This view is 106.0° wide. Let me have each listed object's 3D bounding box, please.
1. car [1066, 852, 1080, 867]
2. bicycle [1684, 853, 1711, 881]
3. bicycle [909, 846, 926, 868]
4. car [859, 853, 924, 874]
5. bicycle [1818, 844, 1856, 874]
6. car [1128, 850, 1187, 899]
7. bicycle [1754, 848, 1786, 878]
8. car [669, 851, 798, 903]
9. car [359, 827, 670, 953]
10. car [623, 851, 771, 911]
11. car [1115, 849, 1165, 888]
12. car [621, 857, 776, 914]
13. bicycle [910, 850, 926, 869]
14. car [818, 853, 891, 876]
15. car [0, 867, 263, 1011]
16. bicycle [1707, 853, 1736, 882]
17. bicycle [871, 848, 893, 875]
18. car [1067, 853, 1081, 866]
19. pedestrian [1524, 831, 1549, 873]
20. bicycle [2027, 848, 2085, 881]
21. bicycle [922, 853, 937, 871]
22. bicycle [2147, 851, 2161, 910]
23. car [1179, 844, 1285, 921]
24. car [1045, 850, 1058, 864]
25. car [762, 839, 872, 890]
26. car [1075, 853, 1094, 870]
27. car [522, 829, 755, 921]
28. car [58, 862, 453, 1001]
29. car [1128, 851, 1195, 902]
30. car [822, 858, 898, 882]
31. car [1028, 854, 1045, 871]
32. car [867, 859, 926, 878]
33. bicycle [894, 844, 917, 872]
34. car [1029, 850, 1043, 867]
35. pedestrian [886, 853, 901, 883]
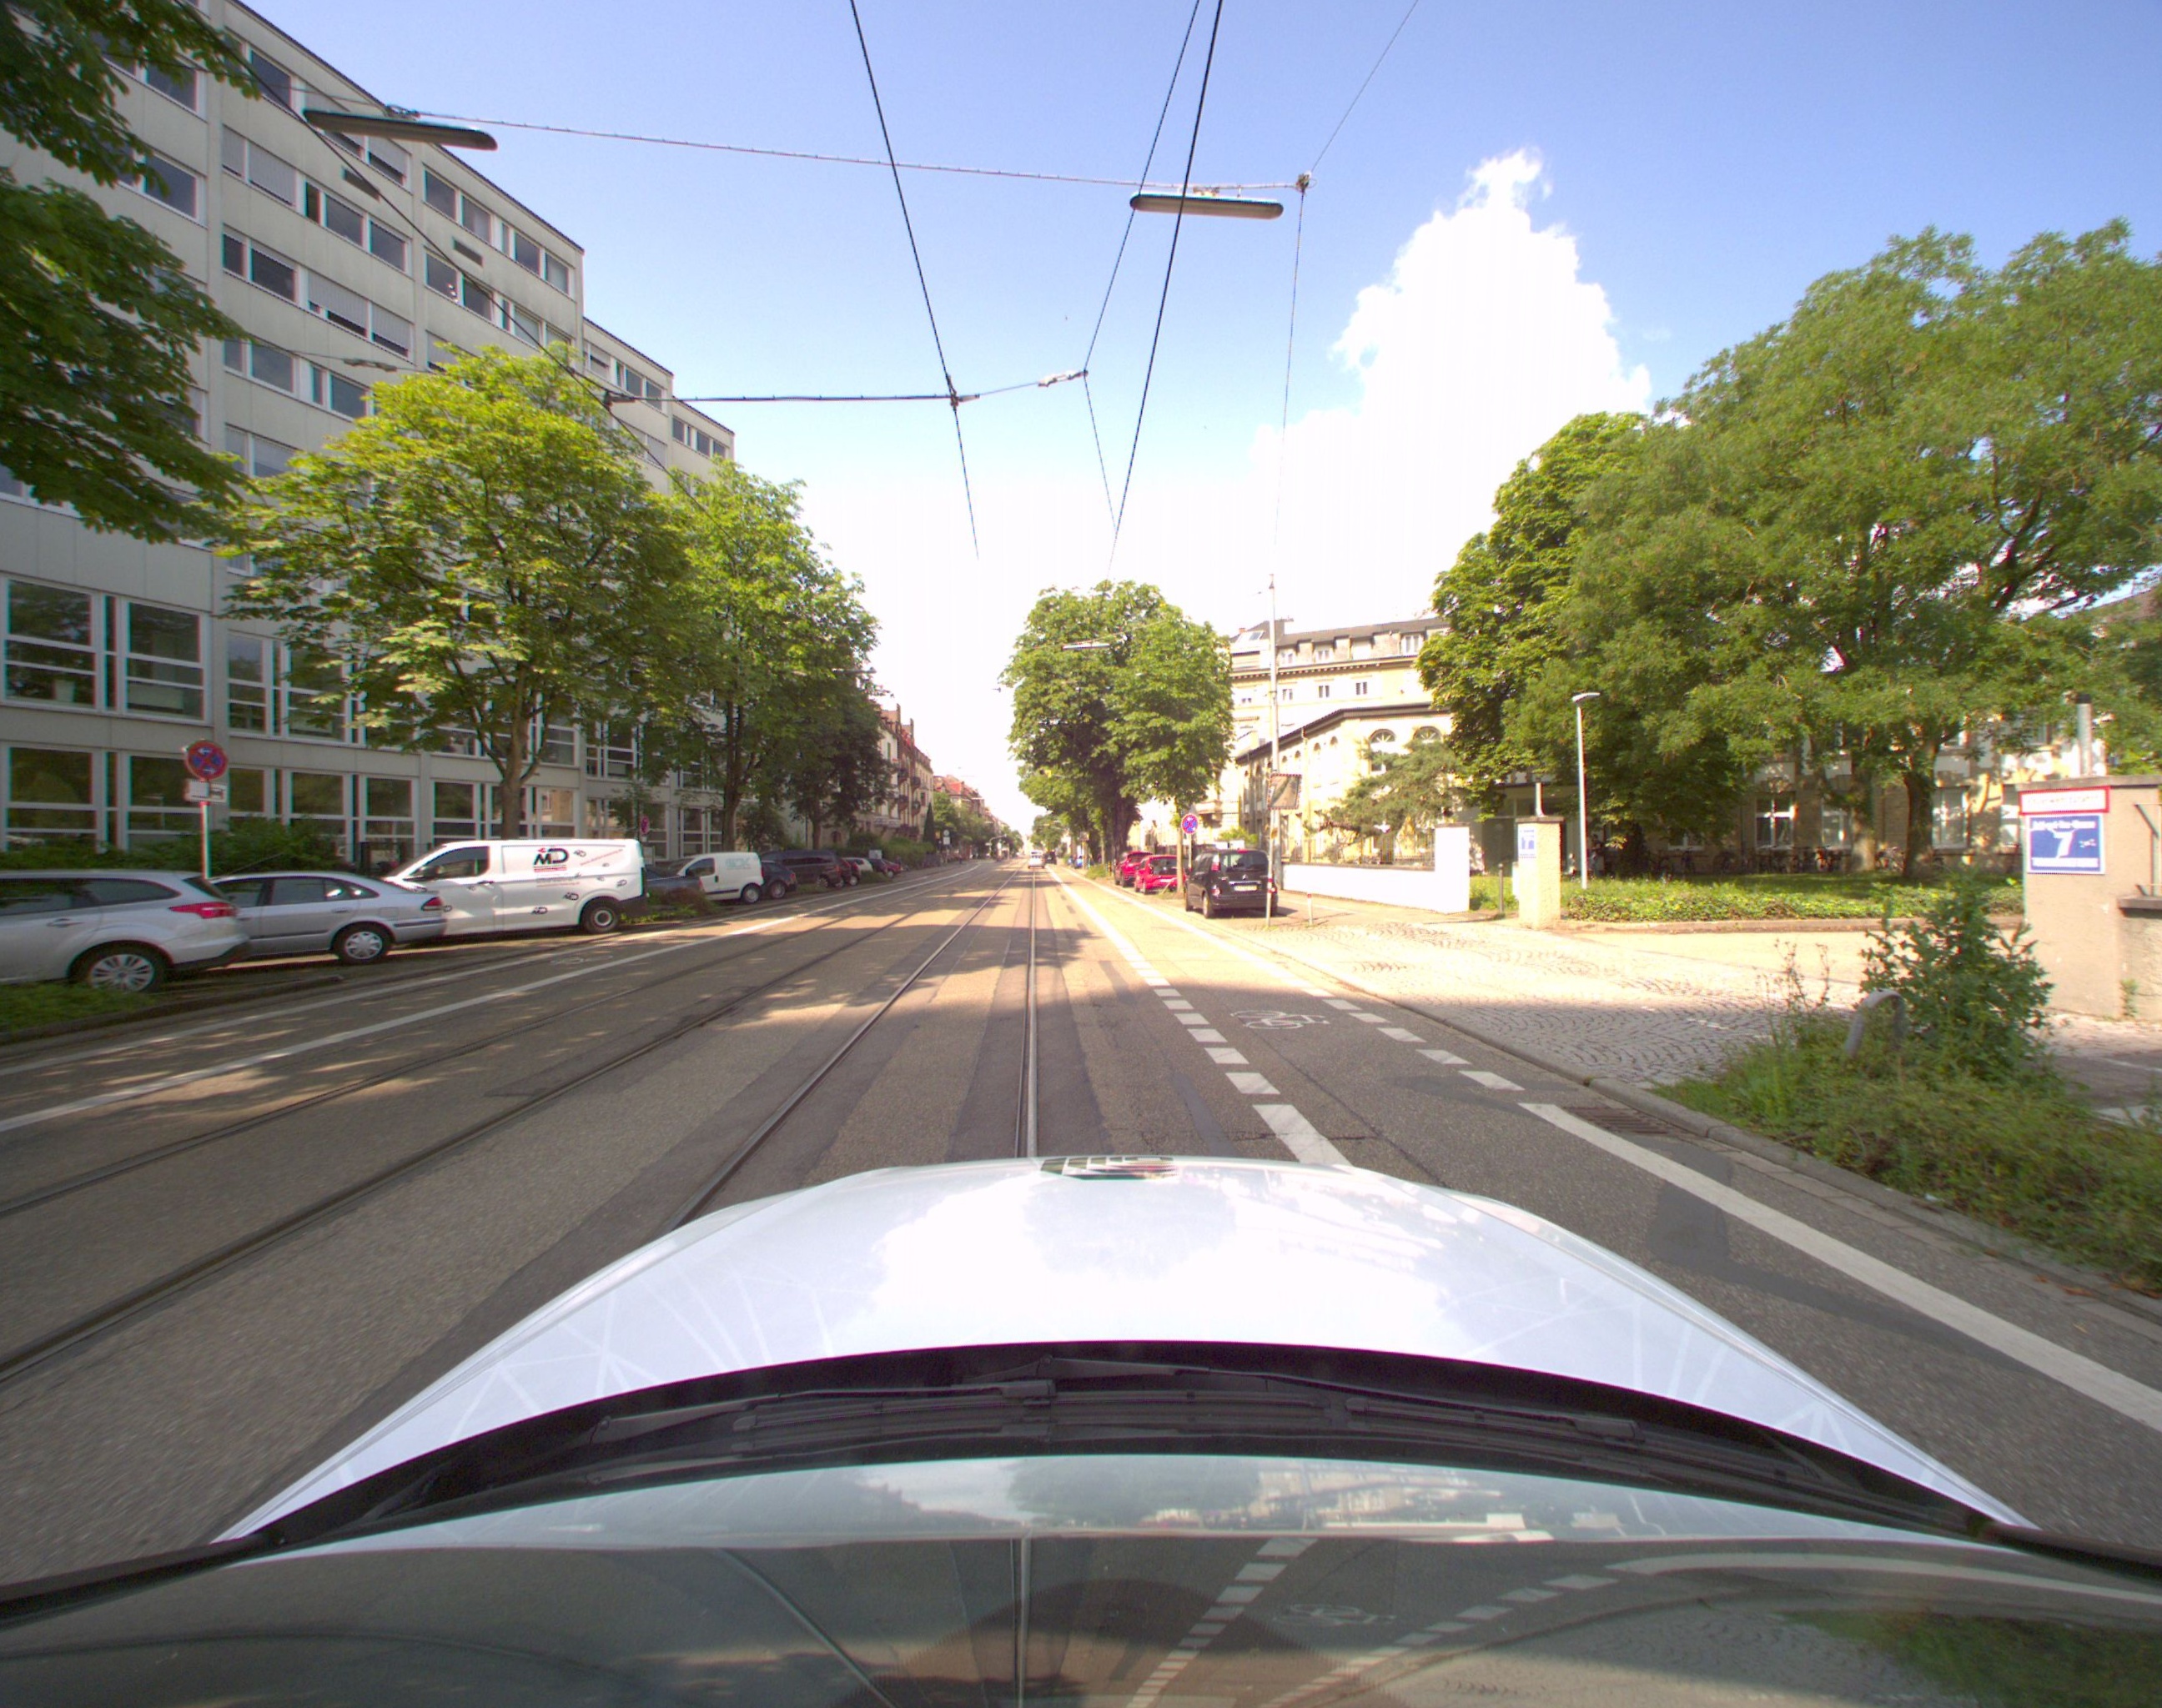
[{"bbox_3d":[-1.007,0.661,99.651,1.618,1.684,3.560,-1,0,-3],"label":"car"},{"bbox_3d":[23.857,0.486,31.537,0.414,1.056,2.079,-5,-2,28],"label":"bicycle"},{"bbox_3d":[-15.518,0.314,77.441,0.935,2.078,2.500,-1,0,2],"label":"bicycle"},{"bbox_3d":[-12.258,0.594,52.794,3.807,1.306,1.618,0,-1,-42],"label":"car"},{"bbox_3d":[27.637,0.175,29.808,0.414,1.056,2.079,-5,-2,28],"label":"bicycle"},{"bbox_3d":[2.922,0.743,31.619,1.670,1.611,3.580,-4,2,-4],"label":"car"},{"bbox_3d":[25.839,0.312,30.566,0.414,1.056,2.079,-5,-2,28],"label":"bicycle"},{"bbox_3d":[-12.253,0.752,28.857,1.859,1.712,3.782,-1,0,41],"label":"car"},{"bbox_3d":[-10.995,0.584,16.088,1.908,1.911,4.670,-2,2,45],"label":"car"},{"bbox_3d":[-12.042,0.794,25.706,1.859,1.712,3.782,-1,0,41],"label":"car"},{"bbox_3d":[2.748,0.659,38.676,1.955,1.706,3.997,-1,0,-2],"label":"car"},{"bbox_3d":[-11.057,0.870,23.709,1.740,1.501,3.660,-2,-1,38],"label":"car"},{"bbox_3d":[-15.254,0.542,76.483,0.935,1.746,2.285,-1,0,2],"label":"bicycle"},{"bbox_3d":[-13.315,0.596,47.962,3.807,1.306,1.618,0,-1,-42],"label":"car"},{"bbox_3d":[-11.874,0.898,8.549,1.718,1.426,4.489,-2,-1,39],"label":"car"},{"bbox_3d":[24.625,0.501,31.341,0.414,1.056,2.079,-5,-2,28],"label":"bicycle"},{"bbox_3d":[-15.427,0.576,63.150,0.935,1.970,2.741,-1,0,3],"label":"bicycle"},{"bbox_3d":[-0.940,0.684,107.776,1.618,1.684,3.560,-1,0,-3],"label":"car"},{"bbox_3d":[18.399,-0.080,32.915,0.763,1.677,0.813,-1,0,23],"label":"pedestrian"},{"bbox_3d":[32.947,0.338,27.545,0.414,1.056,2.079,-5,-2,28],"label":"bicycle"},{"bbox_3d":[-15.917,0.834,85.662,0.935,1.918,2.500,-1,0,2],"label":"bicycle"},{"bbox_3d":[19.286,0.477,13.905,0.414,1.056,2.079,-5,-2,28],"label":"bicycle"},{"bbox_3d":[3.592,0.603,19.964,1.670,1.611,3.580,-4,1,-4],"label":"car"},{"bbox_3d":[-4.139,0.441,113.995,1.618,1.849,3.560,-1,0,-3],"label":"car"},{"bbox_3d":[-11.774,0.494,36.519,1.860,2.081,4.230,2,-1,41],"label":"car"},{"bbox_3d":[0.303,0.739,80.807,1.618,1.684,3.560,-1,0,-3],"label":"car"},{"bbox_3d":[-10.639,0.517,19.827,1.880,1.998,4.599,-1,-2,45],"label":"car"},{"bbox_3d":[-11.815,0.995,11.972,1.704,1.475,3.807,-3,1,43],"label":"car"},{"bbox_3d":[2.590,0.711,26.787,1.663,1.486,3.276,-3,0,-3],"label":"car"},{"bbox_3d":[-12.481,0.889,46.069,3.807,1.306,1.618,0,-1,-42],"label":"car"},{"bbox_3d":[-4.484,0.833,81.709,1.618,1.684,3.560,-1,0,-3],"label":"car"},{"bbox_3d":[-13.267,1.019,58.610,3.807,1.306,1.618,0,-1,-42],"label":"car"},{"bbox_3d":[-15.008,0.327,69.906,0.935,2.319,4.002,-1,0,3],"label":"bicycle"},{"bbox_3d":[-5.566,0.549,101.050,1.618,2.000,3.560,-1,0,-4],"label":"car"},{"bbox_3d":[-12.587,0.930,54.719,0.731,2.013,0.824,-1,0,0],"label":"pedestrian"}]
